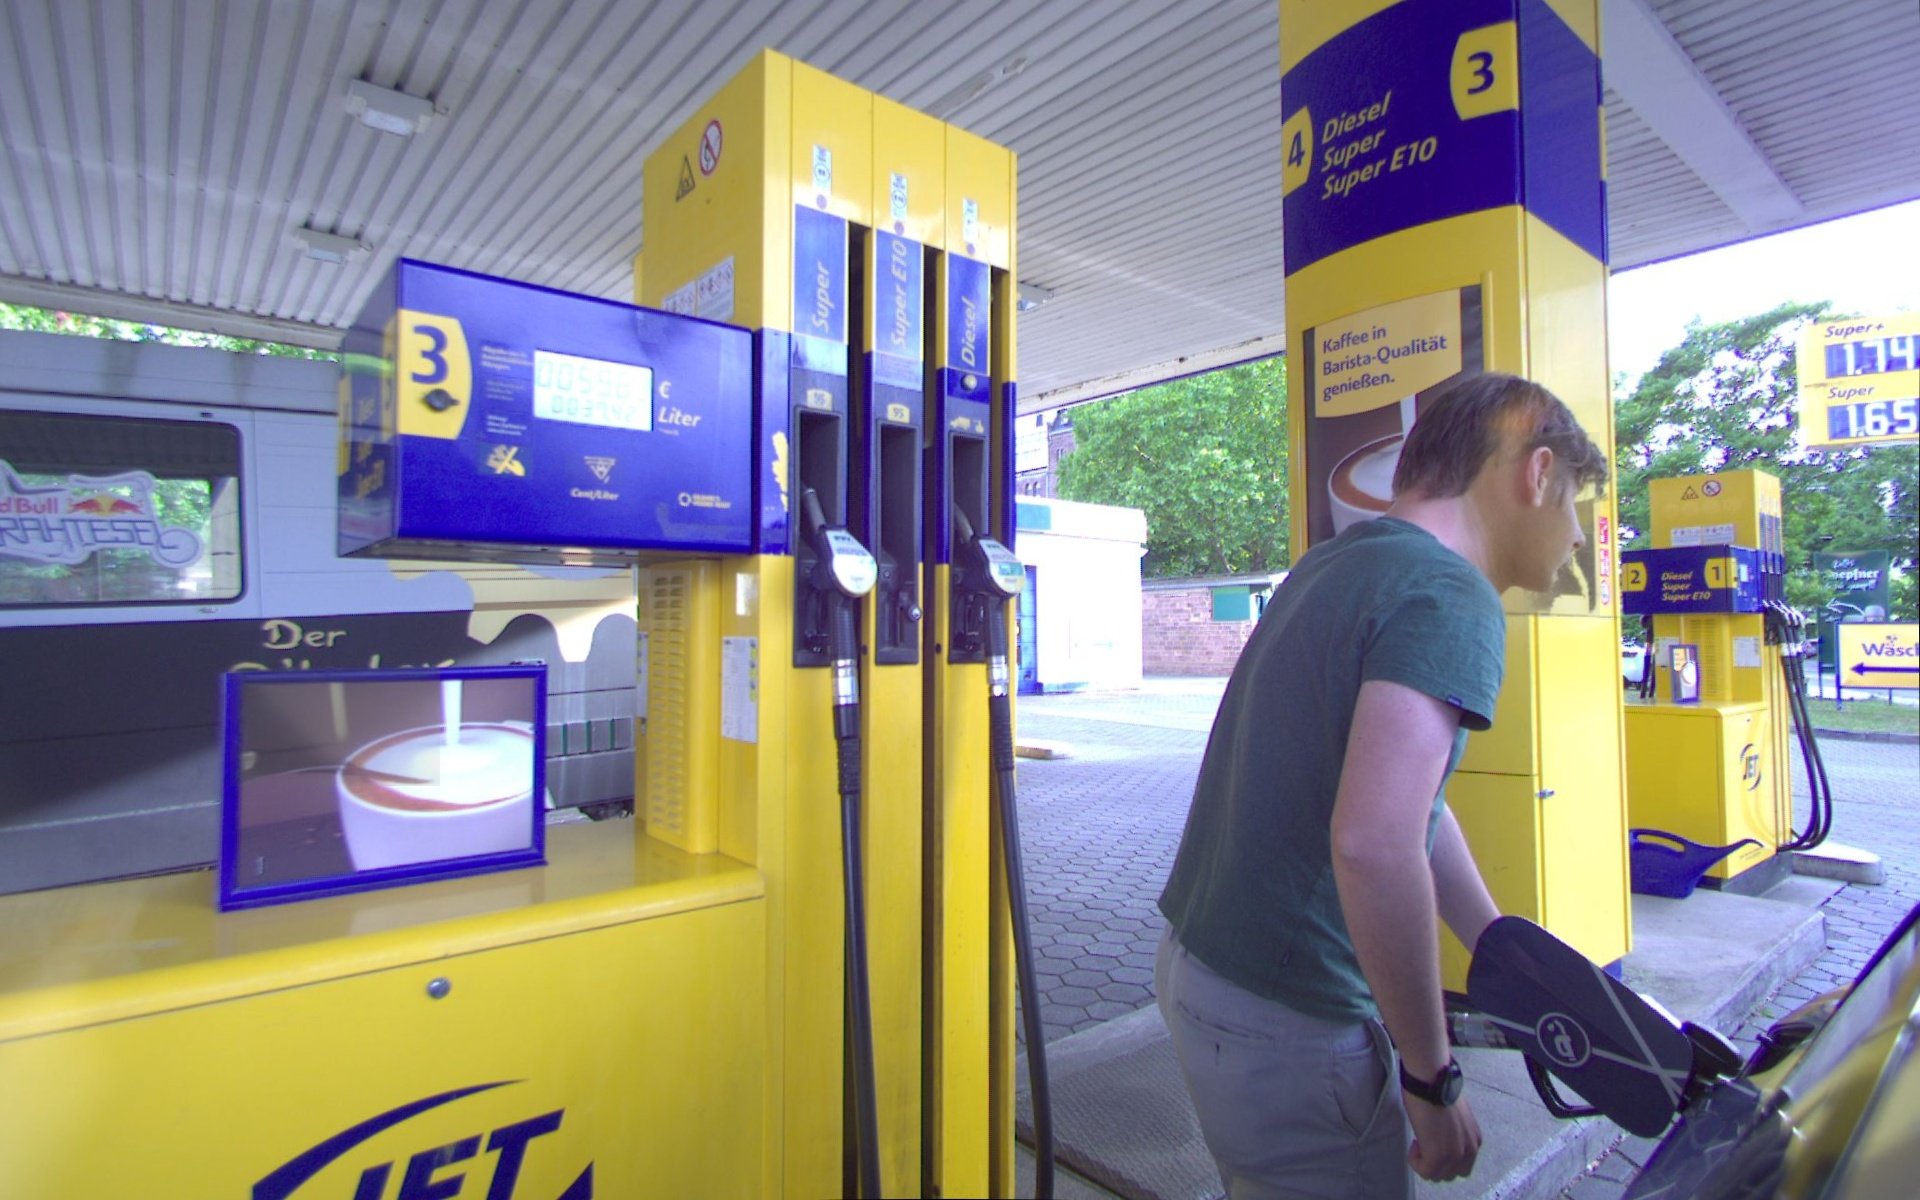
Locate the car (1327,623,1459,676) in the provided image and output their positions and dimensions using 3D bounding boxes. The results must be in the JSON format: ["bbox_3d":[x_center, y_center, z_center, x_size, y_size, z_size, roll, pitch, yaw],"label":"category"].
[{"bbox_3d":[13.784,1.567,32.183,4.112,1.606,1.826,2,-3,-31],"label":"car"}]

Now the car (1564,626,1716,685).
[{"bbox_3d":[18.256,1.485,27.148,4.112,1.478,1.826,2,-3,-31],"label":"car"}]

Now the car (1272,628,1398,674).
[{"bbox_3d":[12.645,1.698,34.046,4.112,1.453,1.826,2,-3,-31],"label":"car"}]

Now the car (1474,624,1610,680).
[{"bbox_3d":[17.773,1.576,30.864,4.112,1.606,1.826,2,-3,-31],"label":"car"}]

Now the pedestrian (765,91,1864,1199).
[{"bbox_3d":[0.492,0.516,1.437,1.161,1.750,0.993,-2,1,-38],"label":"pedestrian"}]

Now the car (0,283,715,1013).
[{"bbox_3d":[-4.096,0.189,4.870,5.248,2.760,2.201,0,-1,-39],"label":"car"}]
